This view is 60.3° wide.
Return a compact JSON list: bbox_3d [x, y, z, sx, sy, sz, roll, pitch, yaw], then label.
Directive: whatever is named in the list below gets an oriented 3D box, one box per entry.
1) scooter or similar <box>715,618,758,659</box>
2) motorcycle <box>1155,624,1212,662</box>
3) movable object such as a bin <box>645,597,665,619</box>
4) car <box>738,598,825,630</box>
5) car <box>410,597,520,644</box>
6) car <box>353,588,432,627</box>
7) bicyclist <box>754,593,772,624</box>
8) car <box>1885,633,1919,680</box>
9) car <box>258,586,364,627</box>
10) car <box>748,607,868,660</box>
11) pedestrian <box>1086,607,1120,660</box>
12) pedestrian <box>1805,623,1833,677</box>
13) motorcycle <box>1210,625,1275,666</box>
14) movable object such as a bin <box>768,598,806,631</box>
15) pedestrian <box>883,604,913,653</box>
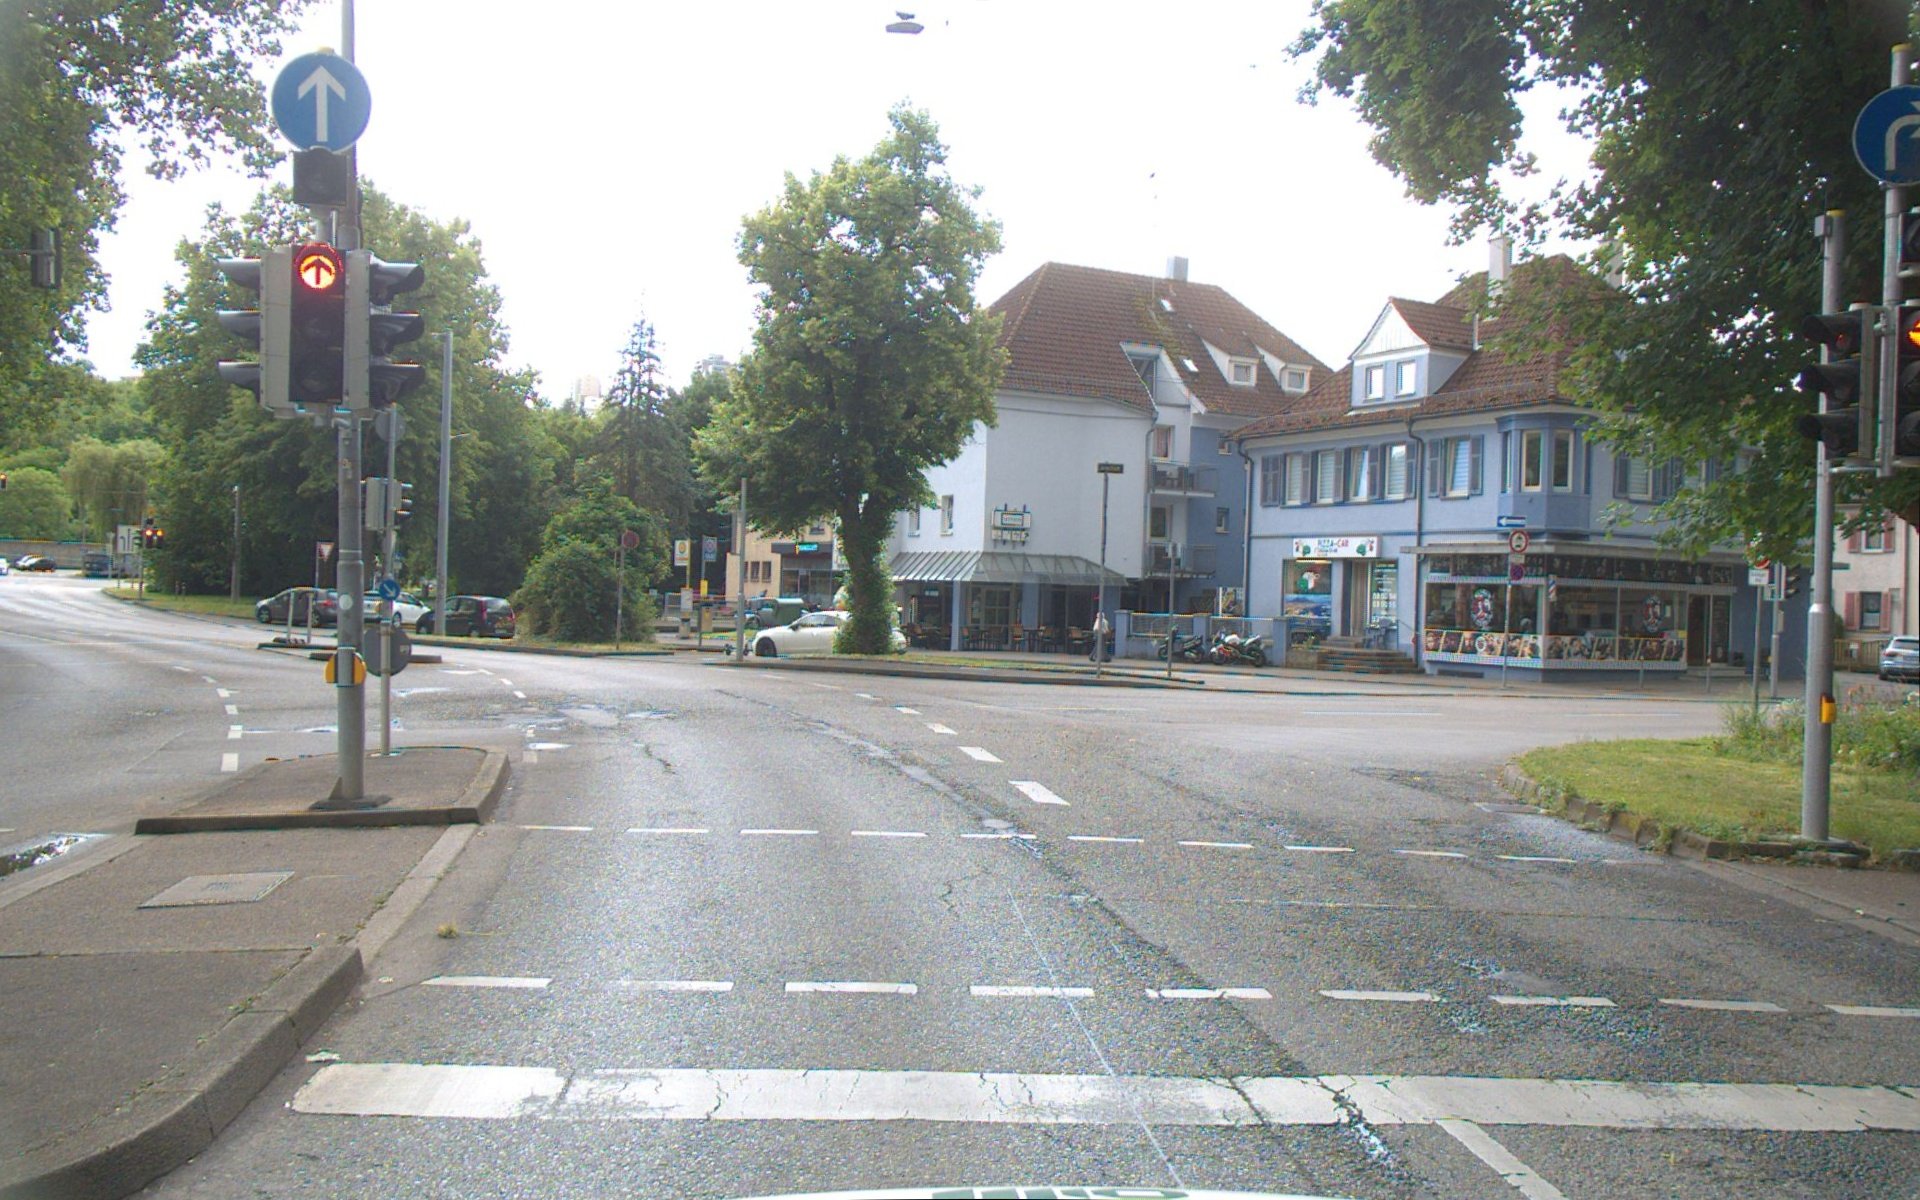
[{"bbox_3d":[-5.730,0.984,42.541,0.408,1.029,1.567,1,0,20],"label":"scooter or similar"},{"bbox_3d":[6.792,1.296,50.237,1.609,1.082,0.690,1,0,44],"label":"motorcycle"},{"bbox_3d":[-15.856,0.399,85.913,0.937,1.135,0.381,1,0,-22],"label":"movable object such as a bin"},{"bbox_3d":[-8.160,0.645,75.731,3.690,1.368,1.421,1,0,-27],"label":"car"},{"bbox_3d":[-16.007,0.662,53.461,3.519,1.418,1.468,1,0,32],"label":"car"},{"bbox_3d":[-22.670,0.309,66.182,1.512,1.490,3.398,1,0,10],"label":"car"},{"bbox_3d":[-10.048,0.445,84.344,0.727,1.568,0.596,1,0,44],"label":"bicyclist"},{"bbox_3d":[29.852,1.742,51.416,1.471,1.393,3.164,1,0,37],"label":"car"},{"bbox_3d":[-24.860,0.247,63.392,3.469,1.490,1.586,1,0,12],"label":"car"},{"bbox_3d":[-4.244,0.919,45.958,3.110,1.378,1.435,1,0,34],"label":"car"},{"bbox_3d":[4.337,1.022,50.181,0.754,1.572,0.675,1,-1,38],"label":"pedestrian"},{"bbox_3d":[24.725,1.431,47.611,0.451,1.544,0.584,1,-1,-21],"label":"pedestrian"},{"bbox_3d":[8.273,1.313,48.481,1.765,1.141,0.692,1,0,38],"label":"motorcycle"},{"bbox_3d":[-7.720,0.662,73.841,1.424,1.433,0.959,1,0,-27],"label":"movable object such as a bin"},{"bbox_3d":[-2.040,0.929,54.343,0.694,1.572,0.675,1,0,39],"label":"pedestrian"}]
